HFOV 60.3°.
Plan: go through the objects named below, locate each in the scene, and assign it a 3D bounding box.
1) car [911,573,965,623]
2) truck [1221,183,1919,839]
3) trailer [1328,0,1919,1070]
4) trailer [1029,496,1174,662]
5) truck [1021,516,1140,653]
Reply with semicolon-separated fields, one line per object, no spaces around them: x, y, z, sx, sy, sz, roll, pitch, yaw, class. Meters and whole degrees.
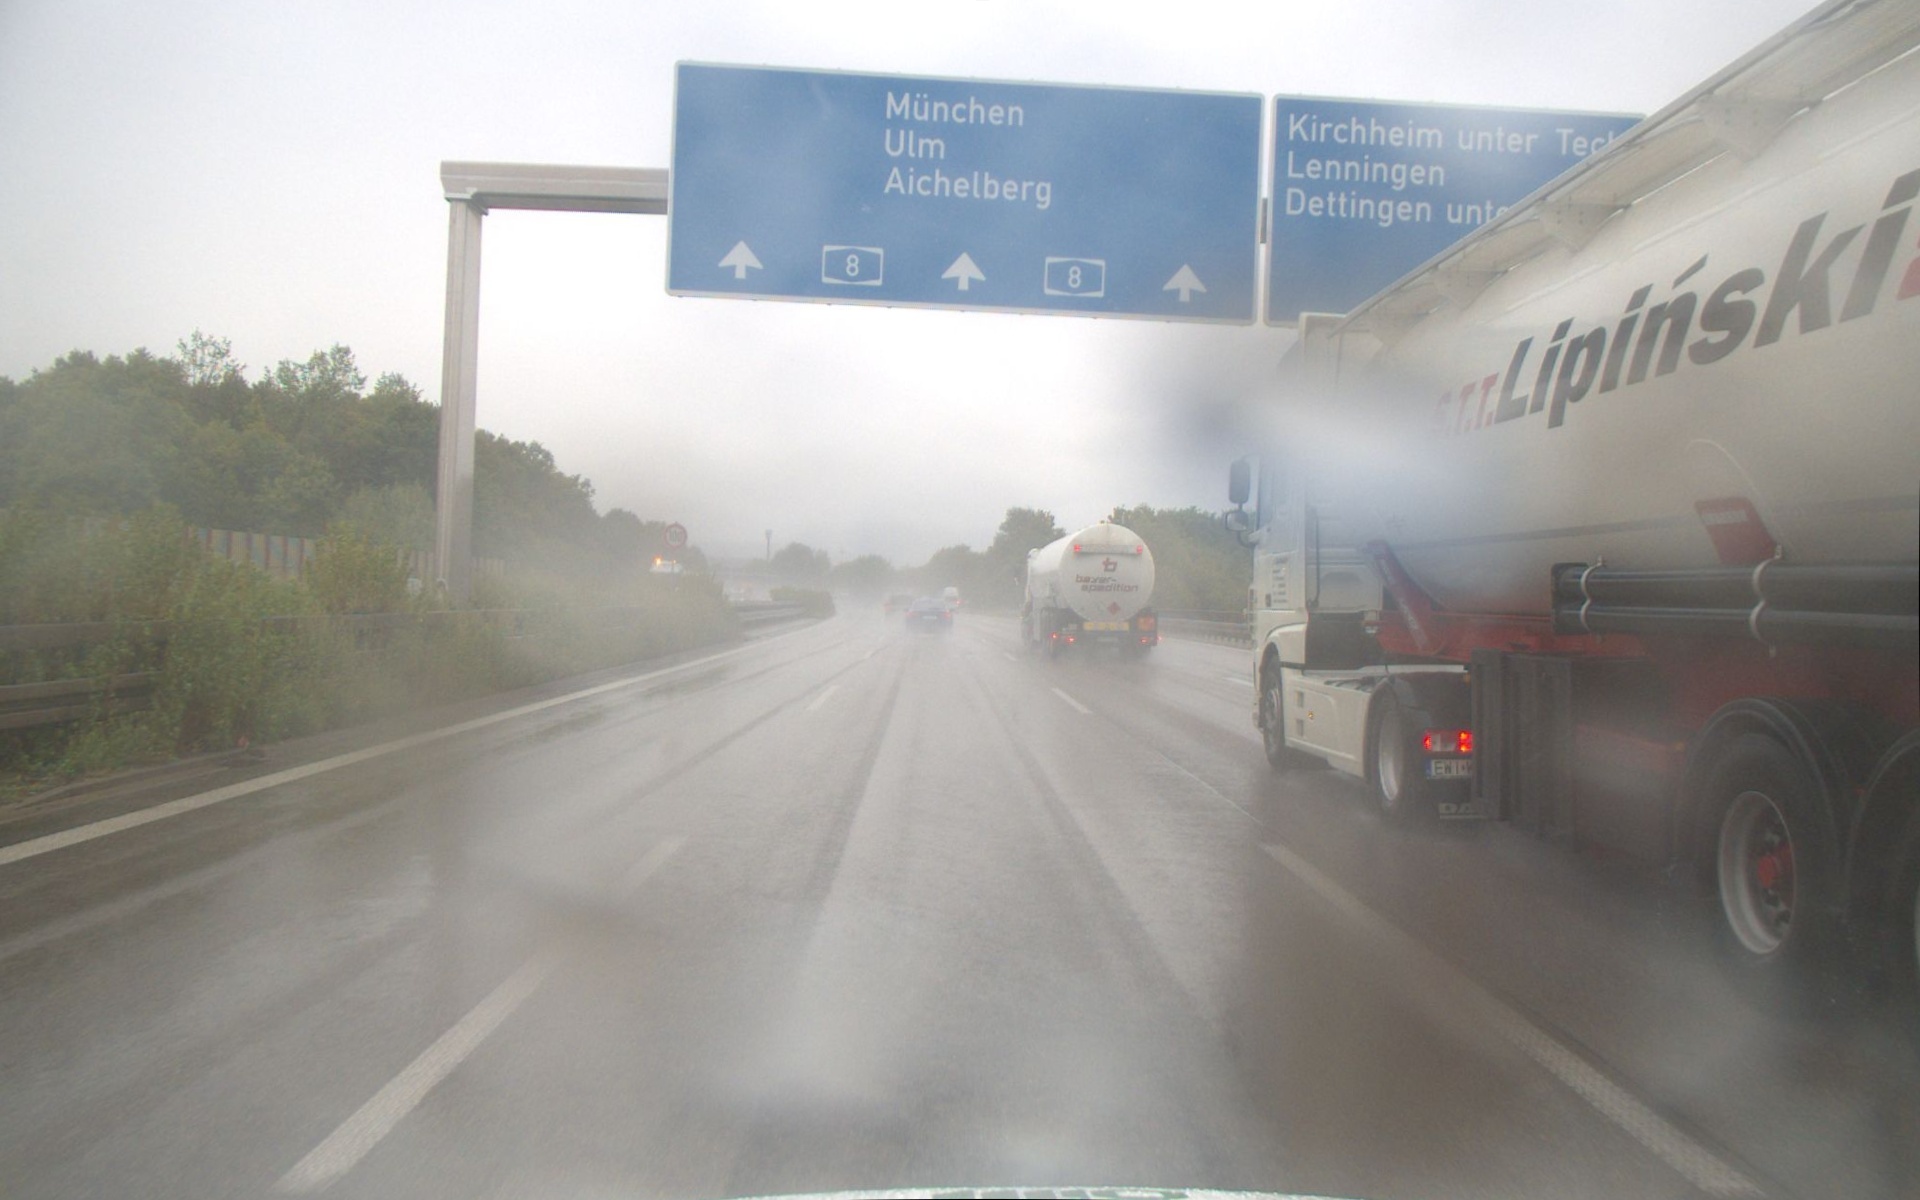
-0.860;-0.099;62.190;1.938;1.787;4.480;1;1;-2;car
4.313;-0.532;13.507;3.041;3.873;7.210;1;0;-1;truck
4.397;-0.460;6.552;3.123;3.734;11.665;1;0;-1;trailer
3.555;-0.516;43.791;2.943;3.915;8.622;1;0;-1;trailer
3.451;-0.439;48.997;2.884;3.749;6.360;1;0;-1;truck
